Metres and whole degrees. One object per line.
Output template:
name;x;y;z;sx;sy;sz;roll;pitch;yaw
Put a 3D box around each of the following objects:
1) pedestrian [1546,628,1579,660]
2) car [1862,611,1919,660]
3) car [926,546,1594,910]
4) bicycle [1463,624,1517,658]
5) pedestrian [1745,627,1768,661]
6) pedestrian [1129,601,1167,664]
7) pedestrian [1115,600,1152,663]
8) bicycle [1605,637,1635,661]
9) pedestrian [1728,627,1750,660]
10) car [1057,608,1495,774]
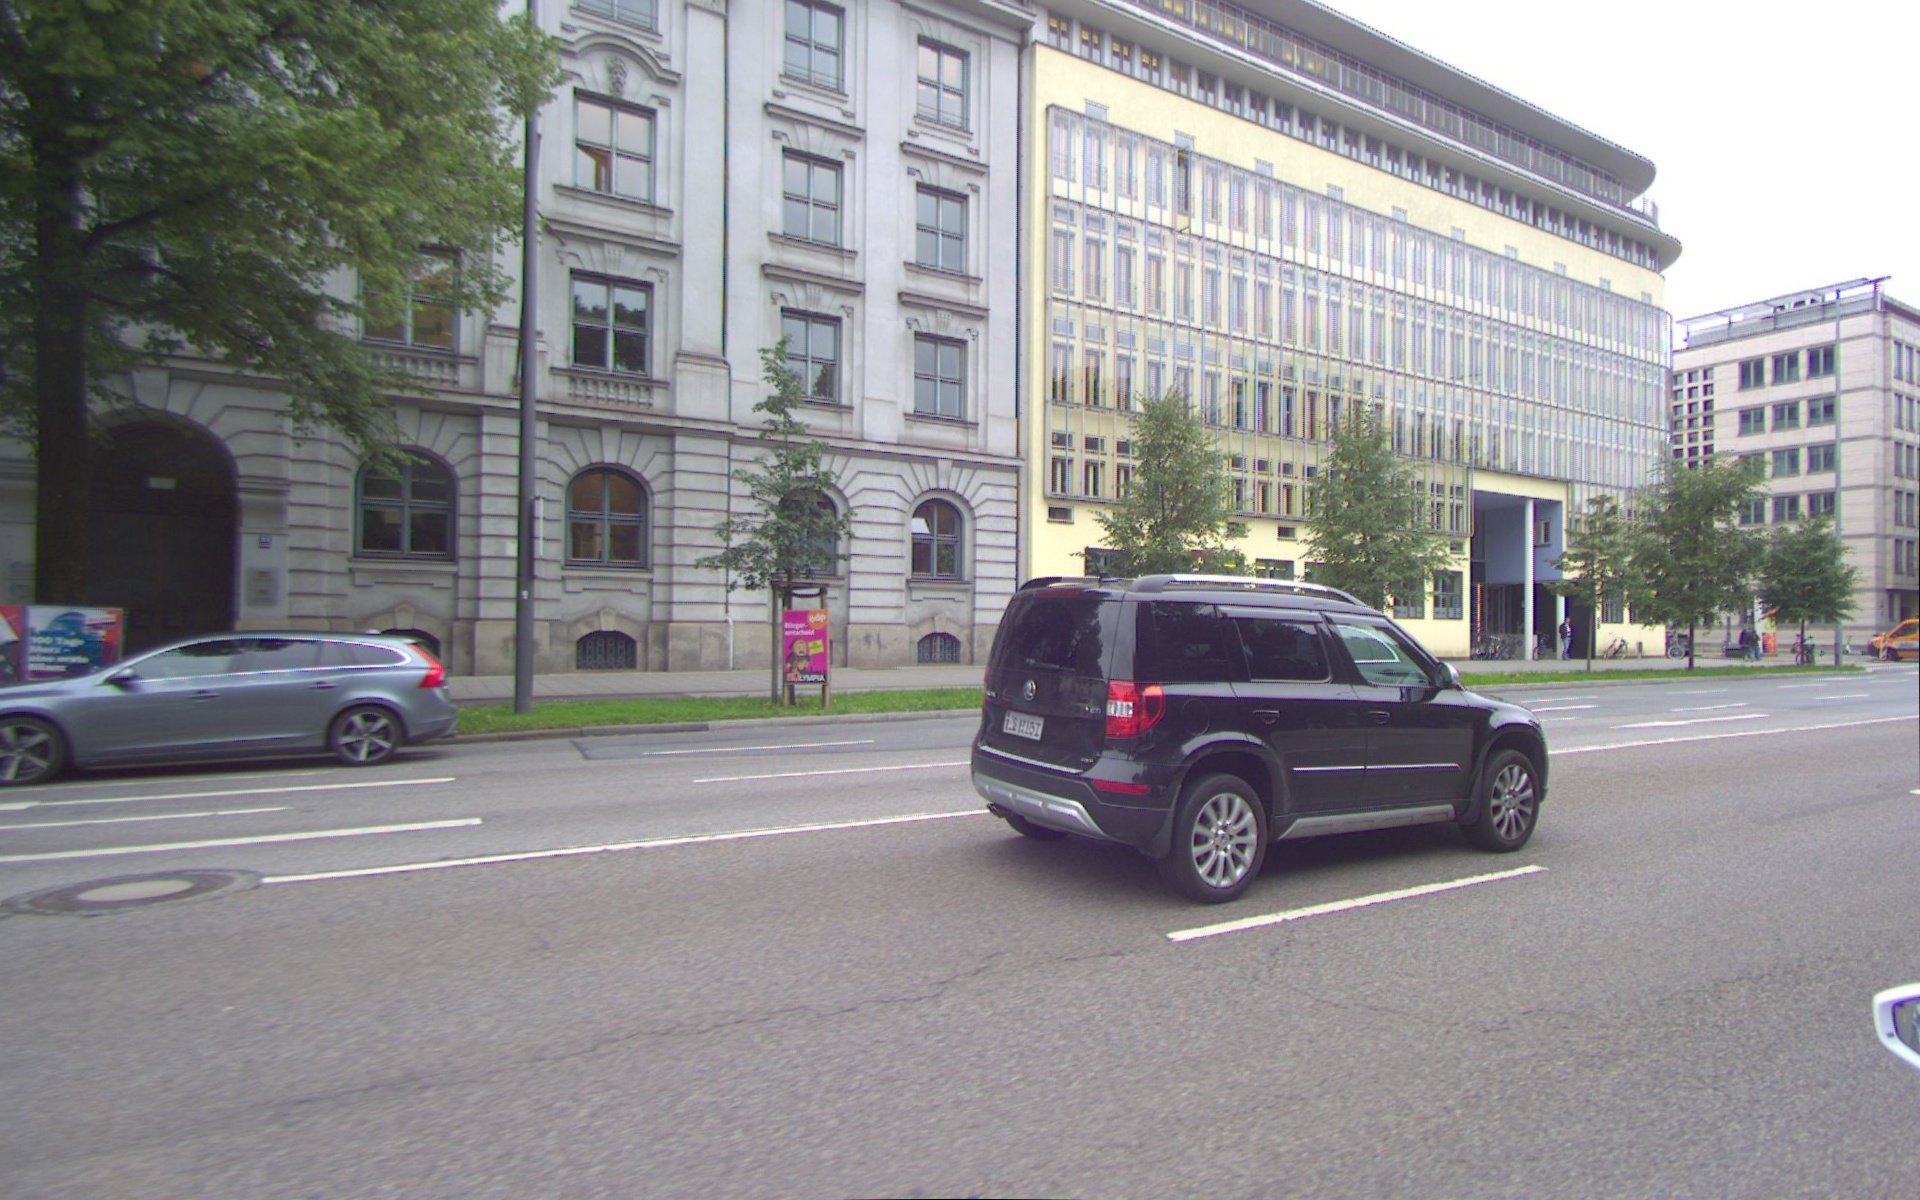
pedestrian;26.737;1.935;44.584;1.073;1.382;0.833;1;-1;-30
car;52.039;1.922;53.467;2.134;2.570;5.647;2;-1;-33
car;2.020;0.657;6.391;4.156;1.658;1.714;2;-1;-31
bicycle;22.938;1.757;43.504;0.569;1.336;1.995;2;0;-35
pedestrian;43.265;2.400;54.554;0.773;1.799;0.680;2;0;-26
pedestrian;5.435;0.937;29.048;0.826;1.800;0.612;2;0;-30
pedestrian;5.125;0.926;29.626;0.826;1.800;0.612;2;0;-30
bicycle;30.318;2.243;46.112;1.577;1.026;0.569;2;0;-34
pedestrian;42.799;2.384;55.175;0.665;1.799;0.680;2;0;-26
car;3.445;0.886;10.684;4.690;1.442;1.759;2;-3;-30
